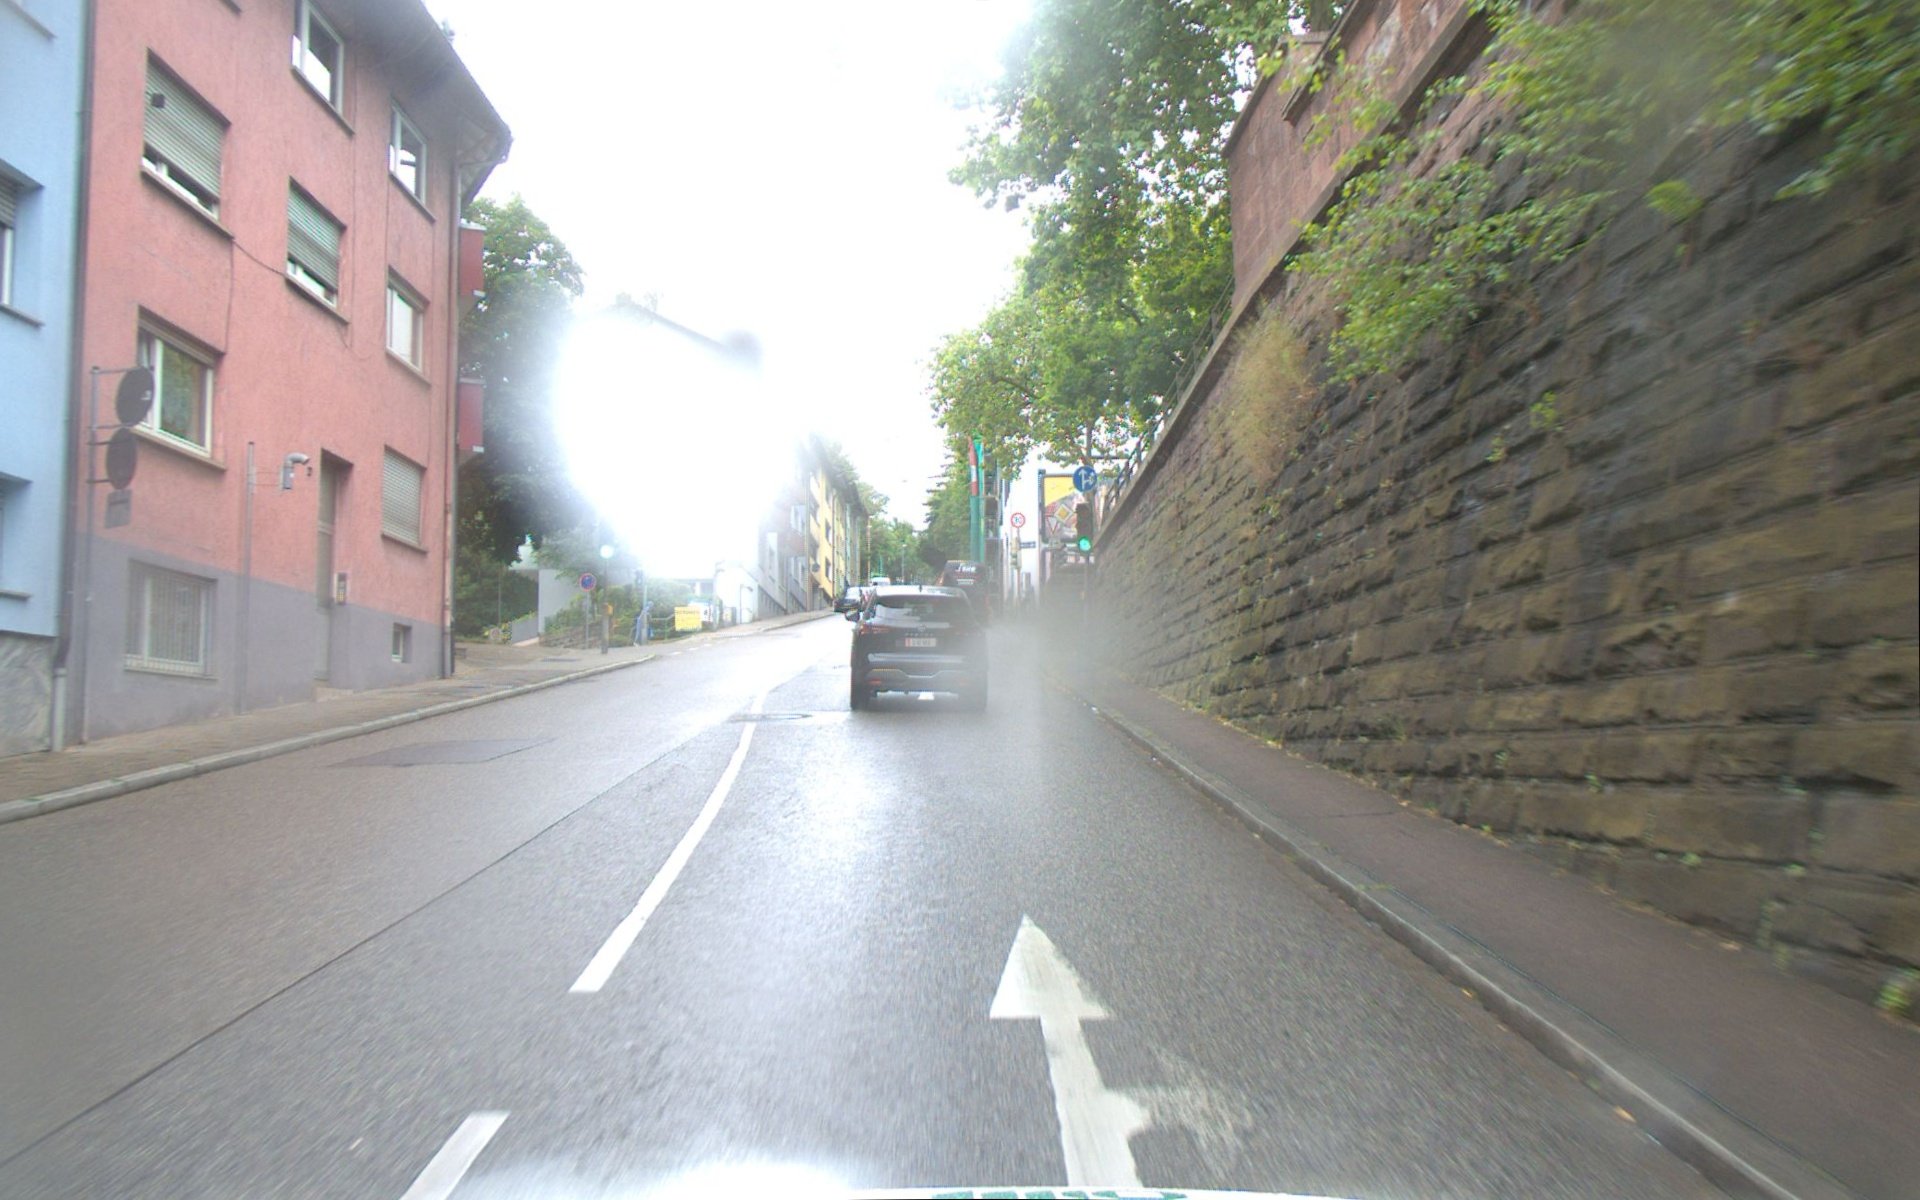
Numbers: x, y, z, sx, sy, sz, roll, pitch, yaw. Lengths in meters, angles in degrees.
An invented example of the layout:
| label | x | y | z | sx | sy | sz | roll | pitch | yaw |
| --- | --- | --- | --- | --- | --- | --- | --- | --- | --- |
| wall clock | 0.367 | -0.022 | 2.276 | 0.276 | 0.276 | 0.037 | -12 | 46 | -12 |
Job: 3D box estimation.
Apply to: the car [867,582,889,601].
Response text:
| label | x | y | z | sx | sy | sz | roll | pitch | yaw |
| --- | --- | --- | --- | --- | --- | --- | --- | --- | --- |
| car | -7.605 | -0.790 | 154.230 | 1.950 | 1.612 | 4.304 | -1 | 1 | -2 |

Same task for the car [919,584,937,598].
| label | x | y | z | sx | sy | sz | roll | pitch | yaw |
| --- | --- | --- | --- | --- | --- | --- | --- | --- | --- |
| car | -3.728 | -1.007 | 190.852 | 2.033 | 1.586 | 3.999 | 0 | 1 | -2 |

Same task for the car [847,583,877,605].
| label | x | y | z | sx | sy | sz | roll | pitch | yaw |
| --- | --- | --- | --- | --- | --- | --- | --- | --- | --- |
| car | -7.726 | -0.493 | 130.753 | 1.952 | 1.678 | 4.443 | -1 | 1 | 1 |

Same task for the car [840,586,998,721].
| label | x | y | z | sx | sy | sz | roll | pitch | yaw |
| --- | --- | --- | --- | --- | --- | --- | --- | --- | --- |
| car | -0.542 | 0.653 | 22.645 | 1.953 | 1.586 | 4.000 | 1 | 1 | -1 |

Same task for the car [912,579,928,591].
| label | x | y | z | sx | sy | sz | roll | pitch | yaw |
| --- | --- | --- | --- | --- | --- | --- | --- | --- | --- |
| car | -5.332 | -1.985 | 219.450 | 2.033 | 1.586 | 3.999 | 0 | 1 | -2 |

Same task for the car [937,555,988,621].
| label | x | y | z | sx | sy | sz | roll | pitch | yaw |
| --- | --- | --- | --- | --- | --- | --- | --- | --- | --- |
| car | 0.128 | -0.436 | 67.133 | 1.952 | 2.456 | 5.836 | 1 | -1 | 0 |

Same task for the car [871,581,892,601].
| label | x | y | z | sx | sy | sz | roll | pitch | yaw |
| --- | --- | --- | --- | --- | --- | --- | --- | --- | --- |
| car | -7.614 | -0.895 | 160.528 | 1.950 | 1.786 | 4.479 | -1 | 1 | -2 |

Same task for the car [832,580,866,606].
| label | x | y | z | sx | sy | sz | roll | pitch | yaw |
| --- | --- | --- | --- | --- | --- | --- | --- | --- | --- |
| car | -7.670 | -0.519 | 114.356 | 1.952 | 1.678 | 4.443 | -1 | 1 | 1 |

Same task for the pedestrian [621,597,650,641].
| label | x | y | z | sx | sy | sz | roll | pitch | yaw |
| --- | --- | --- | --- | --- | --- | --- | --- | --- | --- |
| pedestrian | -11.687 | 0.686 | 59.581 | 0.852 | 1.568 | 1.086 | 1 | -1 | -4 |

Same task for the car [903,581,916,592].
| label | x | y | z | sx | sy | sz | roll | pitch | yaw |
| --- | --- | --- | --- | --- | --- | --- | --- | --- | --- |
| car | -7.553 | -2.050 | 247.220 | 2.033 | 1.586 | 3.999 | 0 | 1 | -2 |
